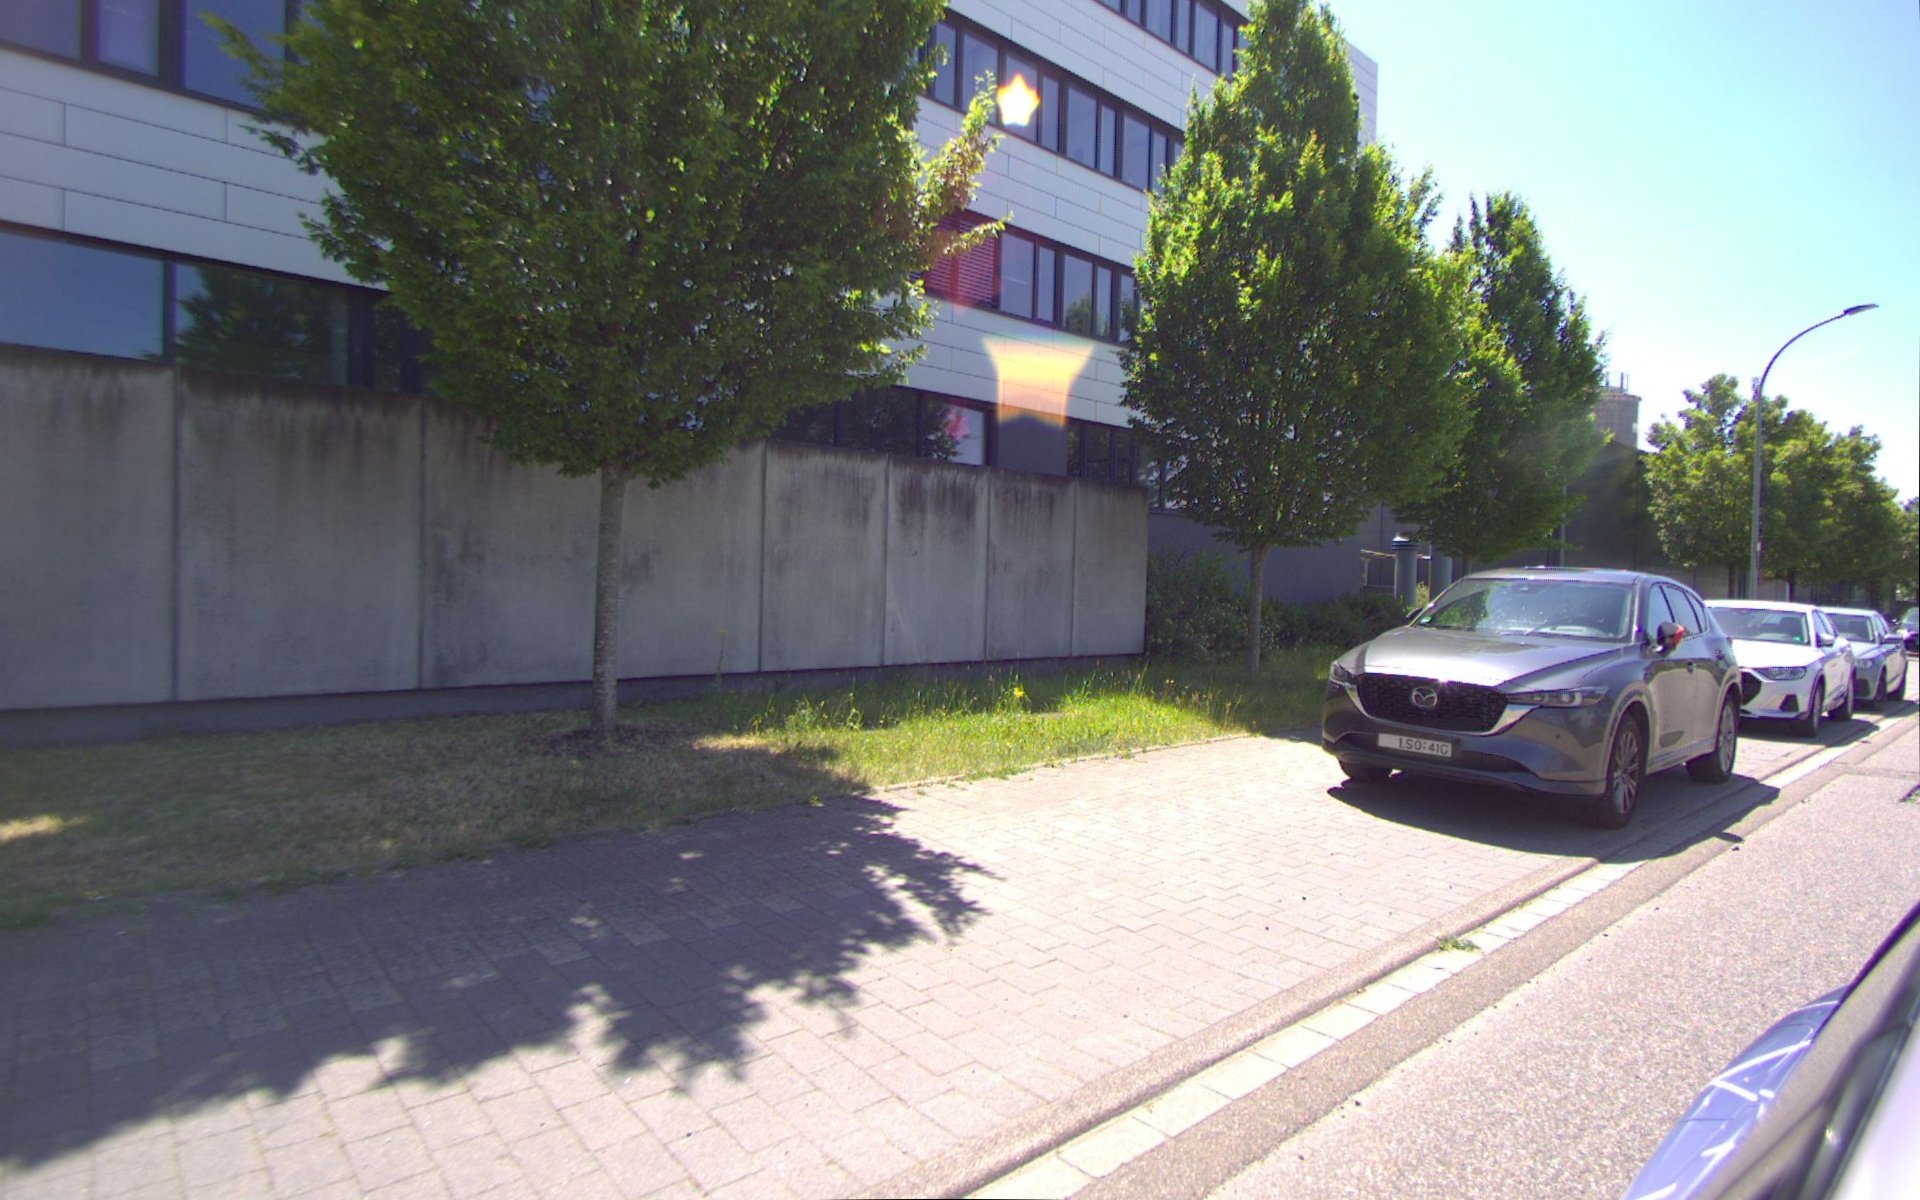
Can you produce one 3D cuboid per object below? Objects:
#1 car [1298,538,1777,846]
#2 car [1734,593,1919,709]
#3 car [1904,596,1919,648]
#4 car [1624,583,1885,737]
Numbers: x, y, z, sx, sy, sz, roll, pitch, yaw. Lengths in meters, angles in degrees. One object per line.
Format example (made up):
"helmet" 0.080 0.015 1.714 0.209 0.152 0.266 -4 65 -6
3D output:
"car" 4.532 0.480 7.648 4.286 1.683 1.762 0 3 -41
"car" 13.414 0.689 15.451 3.881 1.441 1.720 0 3 -41
"car" 29.856 0.698 30.459 4.195 1.494 1.695 0 3 -42
"car" 9.826 0.624 12.410 3.960 1.499 1.720 0 3 -41
